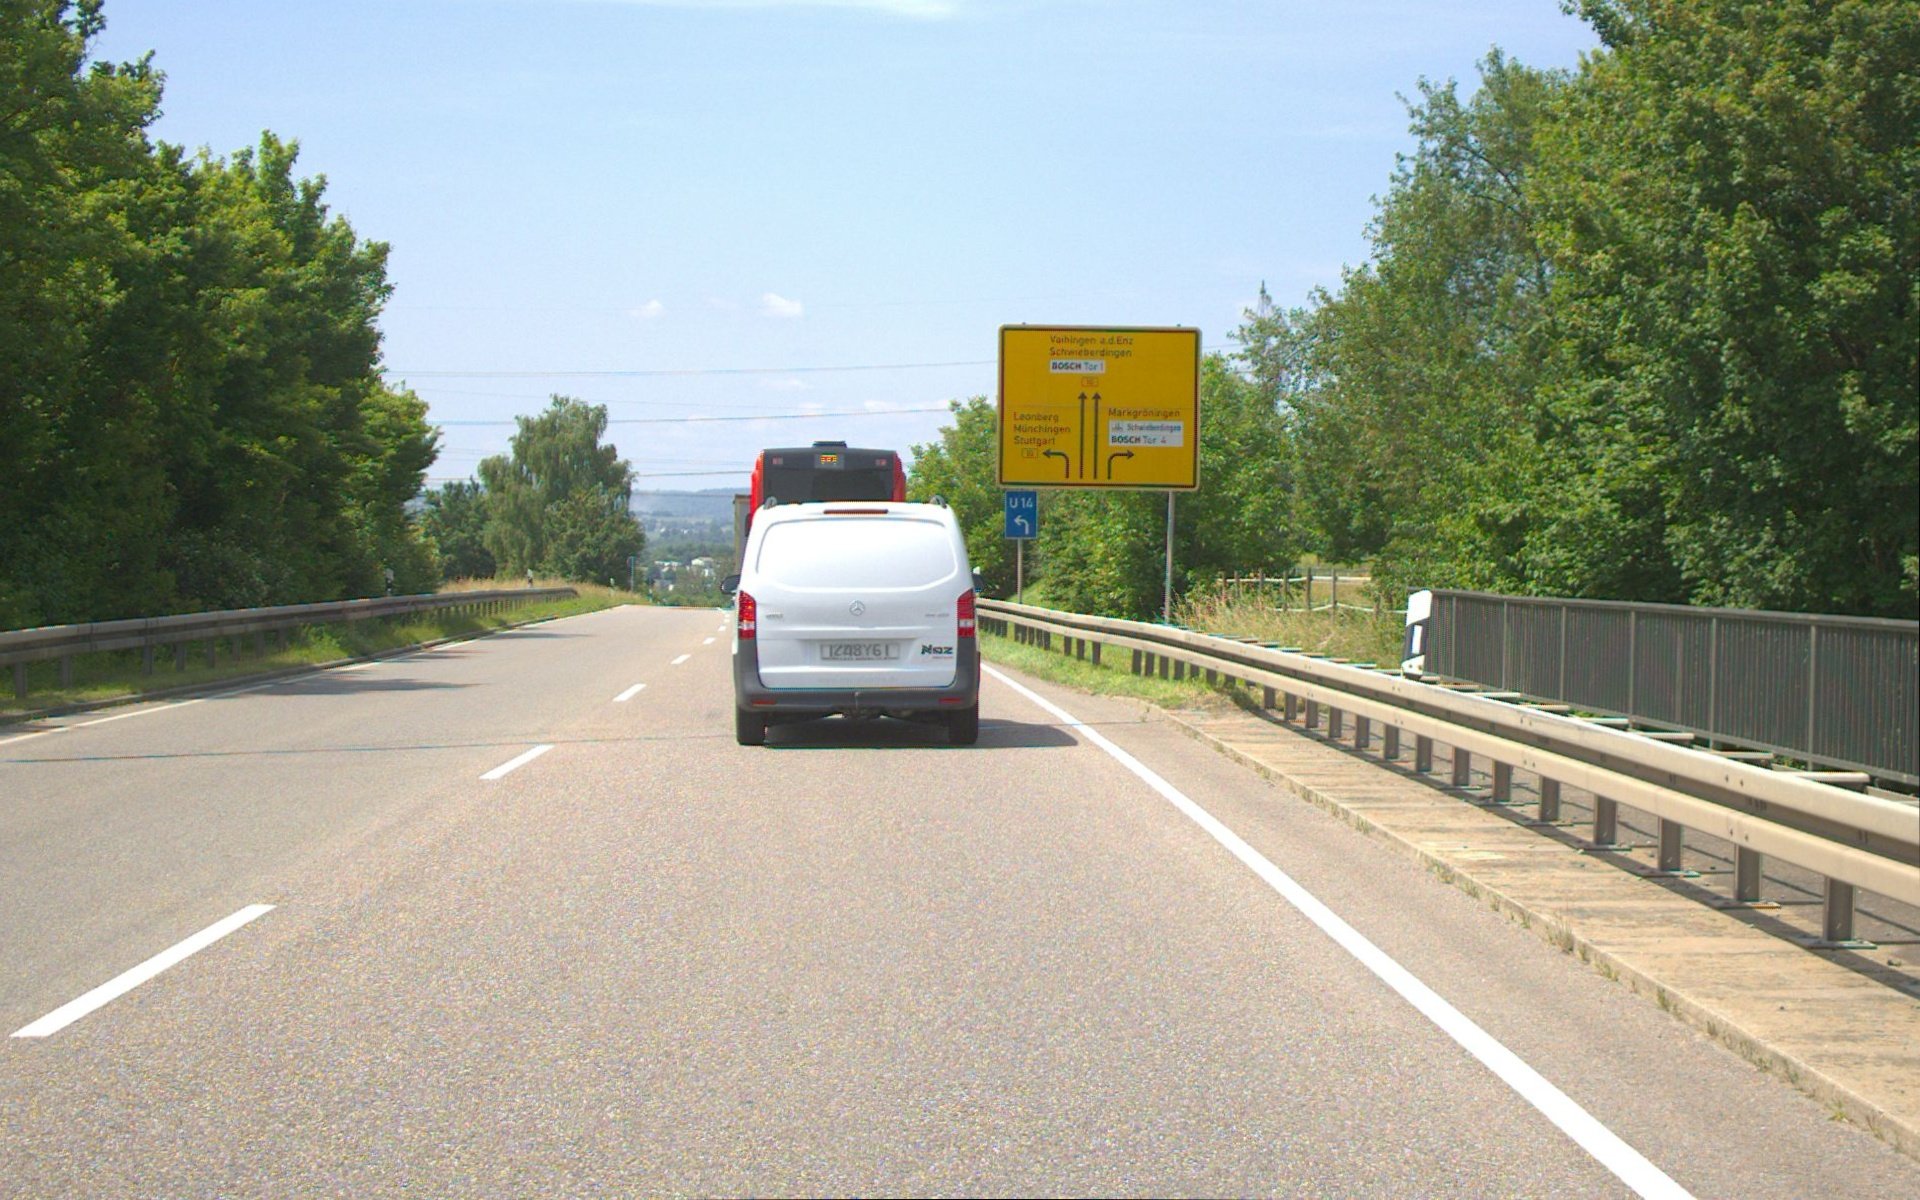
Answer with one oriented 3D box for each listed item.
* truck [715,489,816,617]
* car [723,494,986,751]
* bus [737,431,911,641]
[{"bbox_3d":[-7.226,-1.792,126.137,3.488,4.408,14.905,0,1,-4],"label":"truck"},{"bbox_3d":[-0.822,0.119,27.492,1.923,1.883,4.000,1,1,-1],"label":"car"},{"bbox_3d":[-2.595,-1.158,61.333,2.746,3.342,13.224,0,1,-4],"label":"bus"}]
